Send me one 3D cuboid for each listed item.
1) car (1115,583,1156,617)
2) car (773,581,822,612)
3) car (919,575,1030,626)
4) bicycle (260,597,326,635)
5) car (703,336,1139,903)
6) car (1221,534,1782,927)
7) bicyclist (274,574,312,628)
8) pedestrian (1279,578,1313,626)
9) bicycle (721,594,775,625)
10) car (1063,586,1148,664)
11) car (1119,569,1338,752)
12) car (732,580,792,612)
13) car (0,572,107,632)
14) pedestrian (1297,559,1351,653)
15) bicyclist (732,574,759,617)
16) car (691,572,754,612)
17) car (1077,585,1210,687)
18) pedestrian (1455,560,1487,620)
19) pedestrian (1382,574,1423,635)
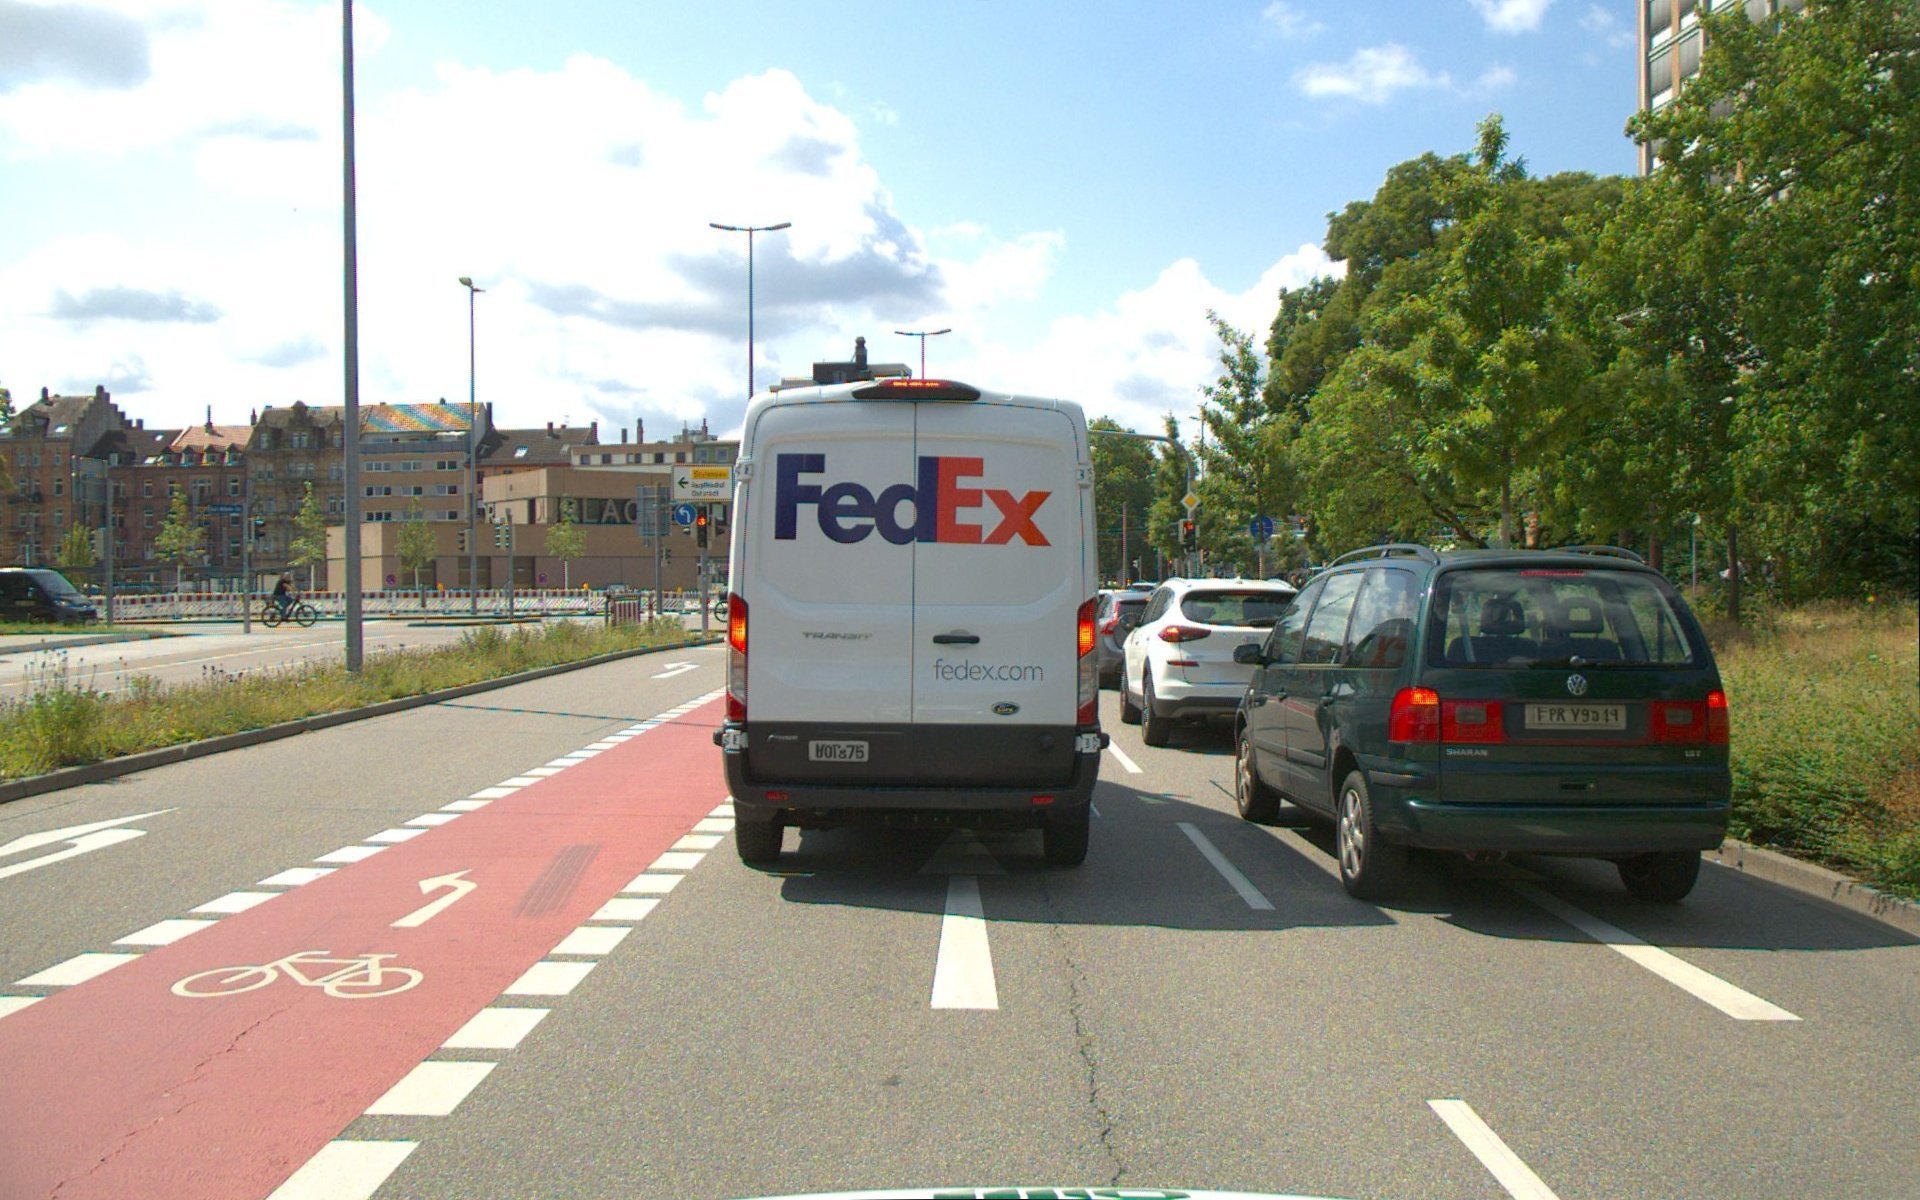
[{"bbox_3d":[9.782,-0.023,91.830,1.951,1.825,4.375,-1,0,10],"label":"car"},{"bbox_3d":[-9.089,-0.209,92.883,1.839,1.680,4.003,-1,0,7],"label":"car"},{"bbox_3d":[0.630,0.004,68.088,2.062,2.049,4.616,-1,0,42],"label":"car"},{"bbox_3d":[-23.383,0.556,57.988,2.026,1.312,0.603,-1,1,-10],"label":"bicycle"},{"bbox_3d":[-0.404,0.074,10.812,2.098,2.699,5.698,0,0,-5],"label":"car"},{"bbox_3d":[2.786,0.560,9.639,1.775,1.764,4.388,0,1,-1],"label":"car"},{"bbox_3d":[-23.374,0.017,57.981,1.098,1.877,0.592,-1,1,-10],"label":"bicyclist"},{"bbox_3d":[10.092,0.062,49.691,0.827,1.413,0.741,0,1,-1],"label":"pedestrian"},{"bbox_3d":[-7.504,0.327,58.581,1.884,1.048,0.547,0,1,-8],"label":"bicycle"},{"bbox_3d":[2.869,0.465,33.138,1.454,1.453,3.433,0,1,1],"label":"car"},{"bbox_3d":[2.721,0.543,17.592,1.760,1.717,4.001,0,1,1],"label":"car"},{"bbox_3d":[-10.335,-0.190,86.677,1.860,1.613,4.003,-1,0,13],"label":"car"},{"bbox_3d":[-31.124,0.050,54.575,4.910,1.911,1.927,-1,1,-4],"label":"car"},{"bbox_3d":[7.528,0.117,34.190,0.931,1.925,0.774,0,0,-1],"label":"pedestrian"},{"bbox_3d":[-7.588,-0.175,58.570,0.950,1.500,0.550,-1,0,-8],"label":"bicyclist"},{"bbox_3d":[-12.497,-0.417,87.385,1.951,2.049,4.003,-1,0,14],"label":"car"},{"bbox_3d":[2.851,0.516,26.383,1.760,1.486,3.839,0,1,1],"label":"car"},{"bbox_3d":[17.950,-0.367,58.128,0.727,2.094,0.843,-1,1,-17],"label":"pedestrian"},{"bbox_3d":[11.549,0.112,43.182,0.827,1.565,0.835,0,1,-1],"label":"pedestrian"}]
